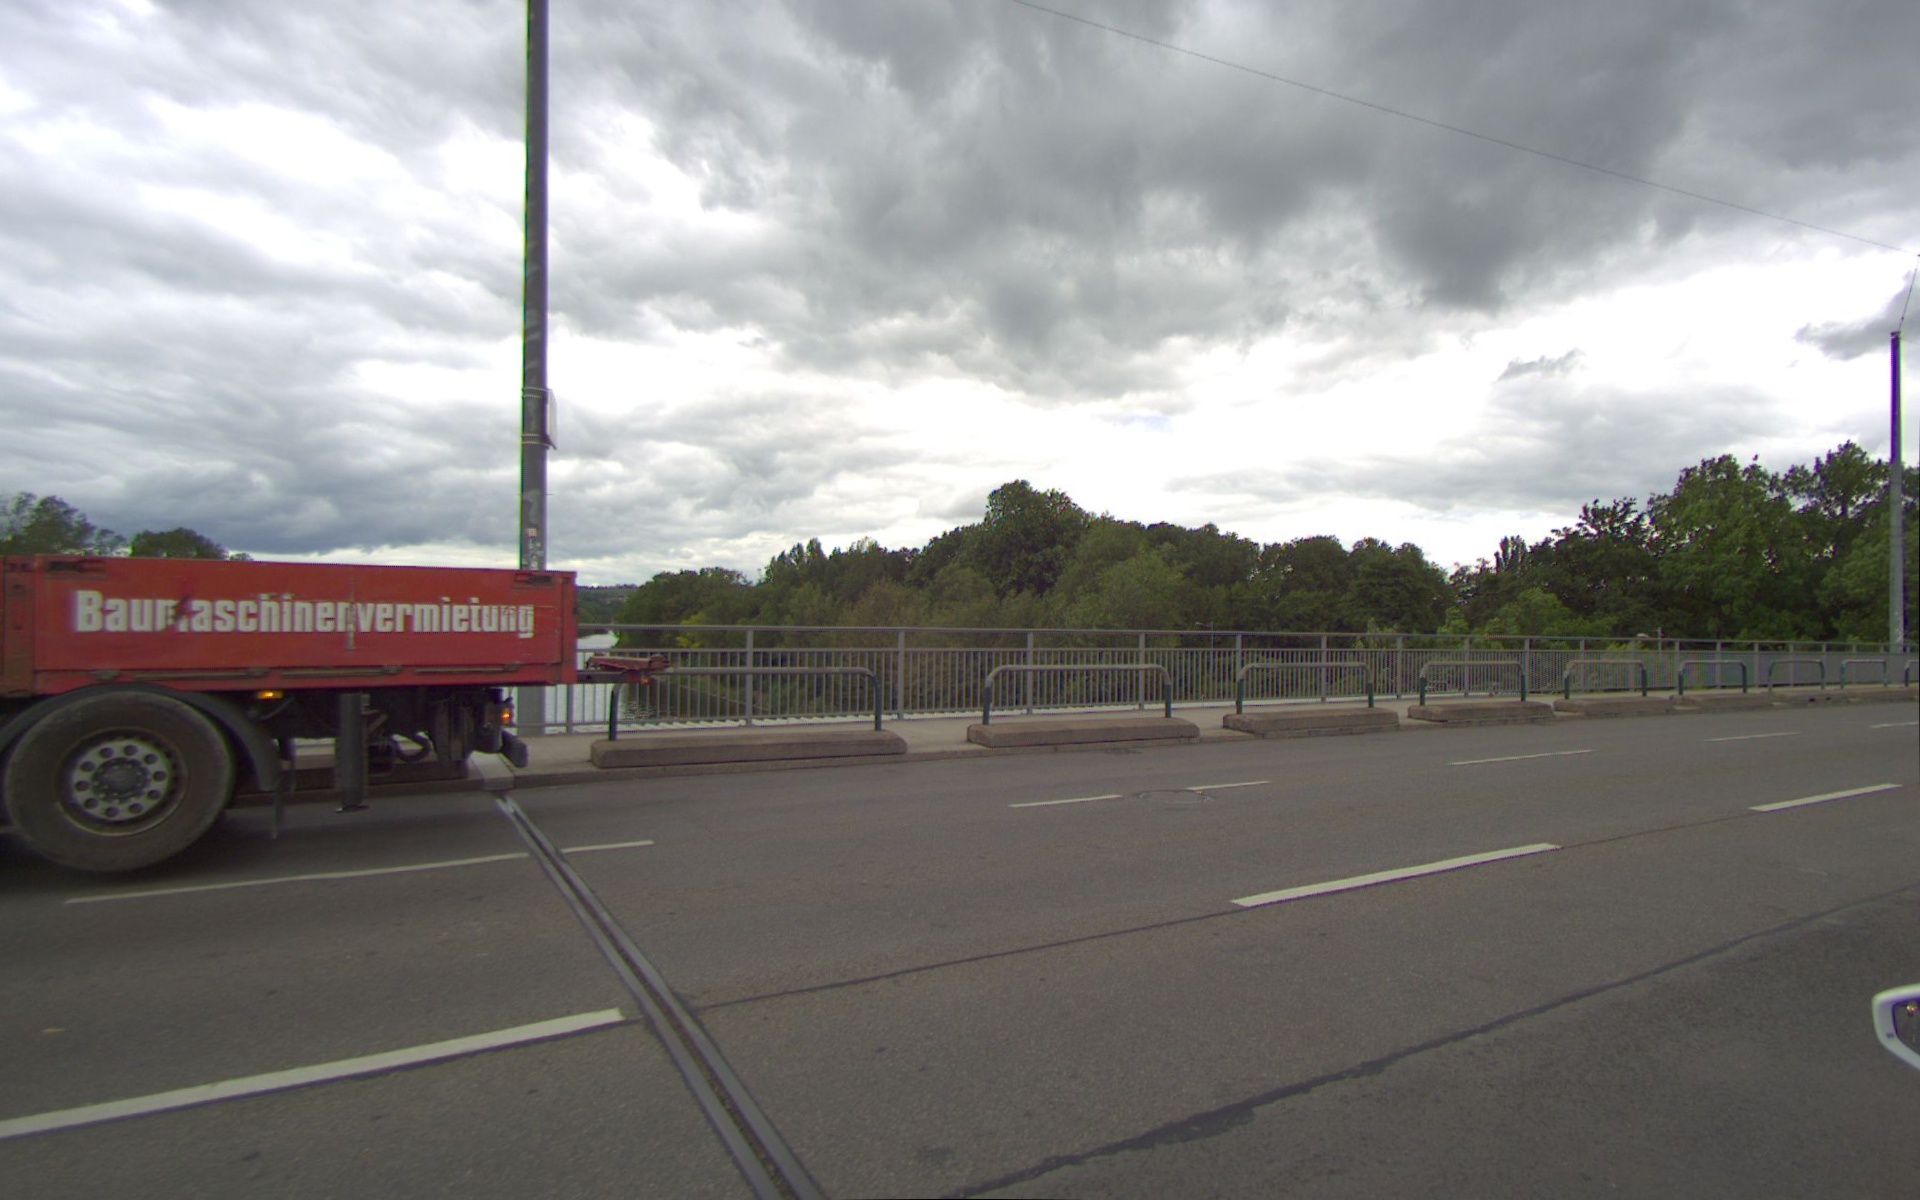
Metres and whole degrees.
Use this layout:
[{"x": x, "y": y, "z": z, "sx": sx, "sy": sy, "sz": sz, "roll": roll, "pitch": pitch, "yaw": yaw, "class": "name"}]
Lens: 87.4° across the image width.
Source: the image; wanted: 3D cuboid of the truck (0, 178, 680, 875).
[{"x": -6.934, "y": -0.366, "z": 5.765, "sx": 9.866, "sy": 3.612, "sz": 2.991, "roll": 1, "pitch": -2, "yaw": -31, "class": "truck"}]
